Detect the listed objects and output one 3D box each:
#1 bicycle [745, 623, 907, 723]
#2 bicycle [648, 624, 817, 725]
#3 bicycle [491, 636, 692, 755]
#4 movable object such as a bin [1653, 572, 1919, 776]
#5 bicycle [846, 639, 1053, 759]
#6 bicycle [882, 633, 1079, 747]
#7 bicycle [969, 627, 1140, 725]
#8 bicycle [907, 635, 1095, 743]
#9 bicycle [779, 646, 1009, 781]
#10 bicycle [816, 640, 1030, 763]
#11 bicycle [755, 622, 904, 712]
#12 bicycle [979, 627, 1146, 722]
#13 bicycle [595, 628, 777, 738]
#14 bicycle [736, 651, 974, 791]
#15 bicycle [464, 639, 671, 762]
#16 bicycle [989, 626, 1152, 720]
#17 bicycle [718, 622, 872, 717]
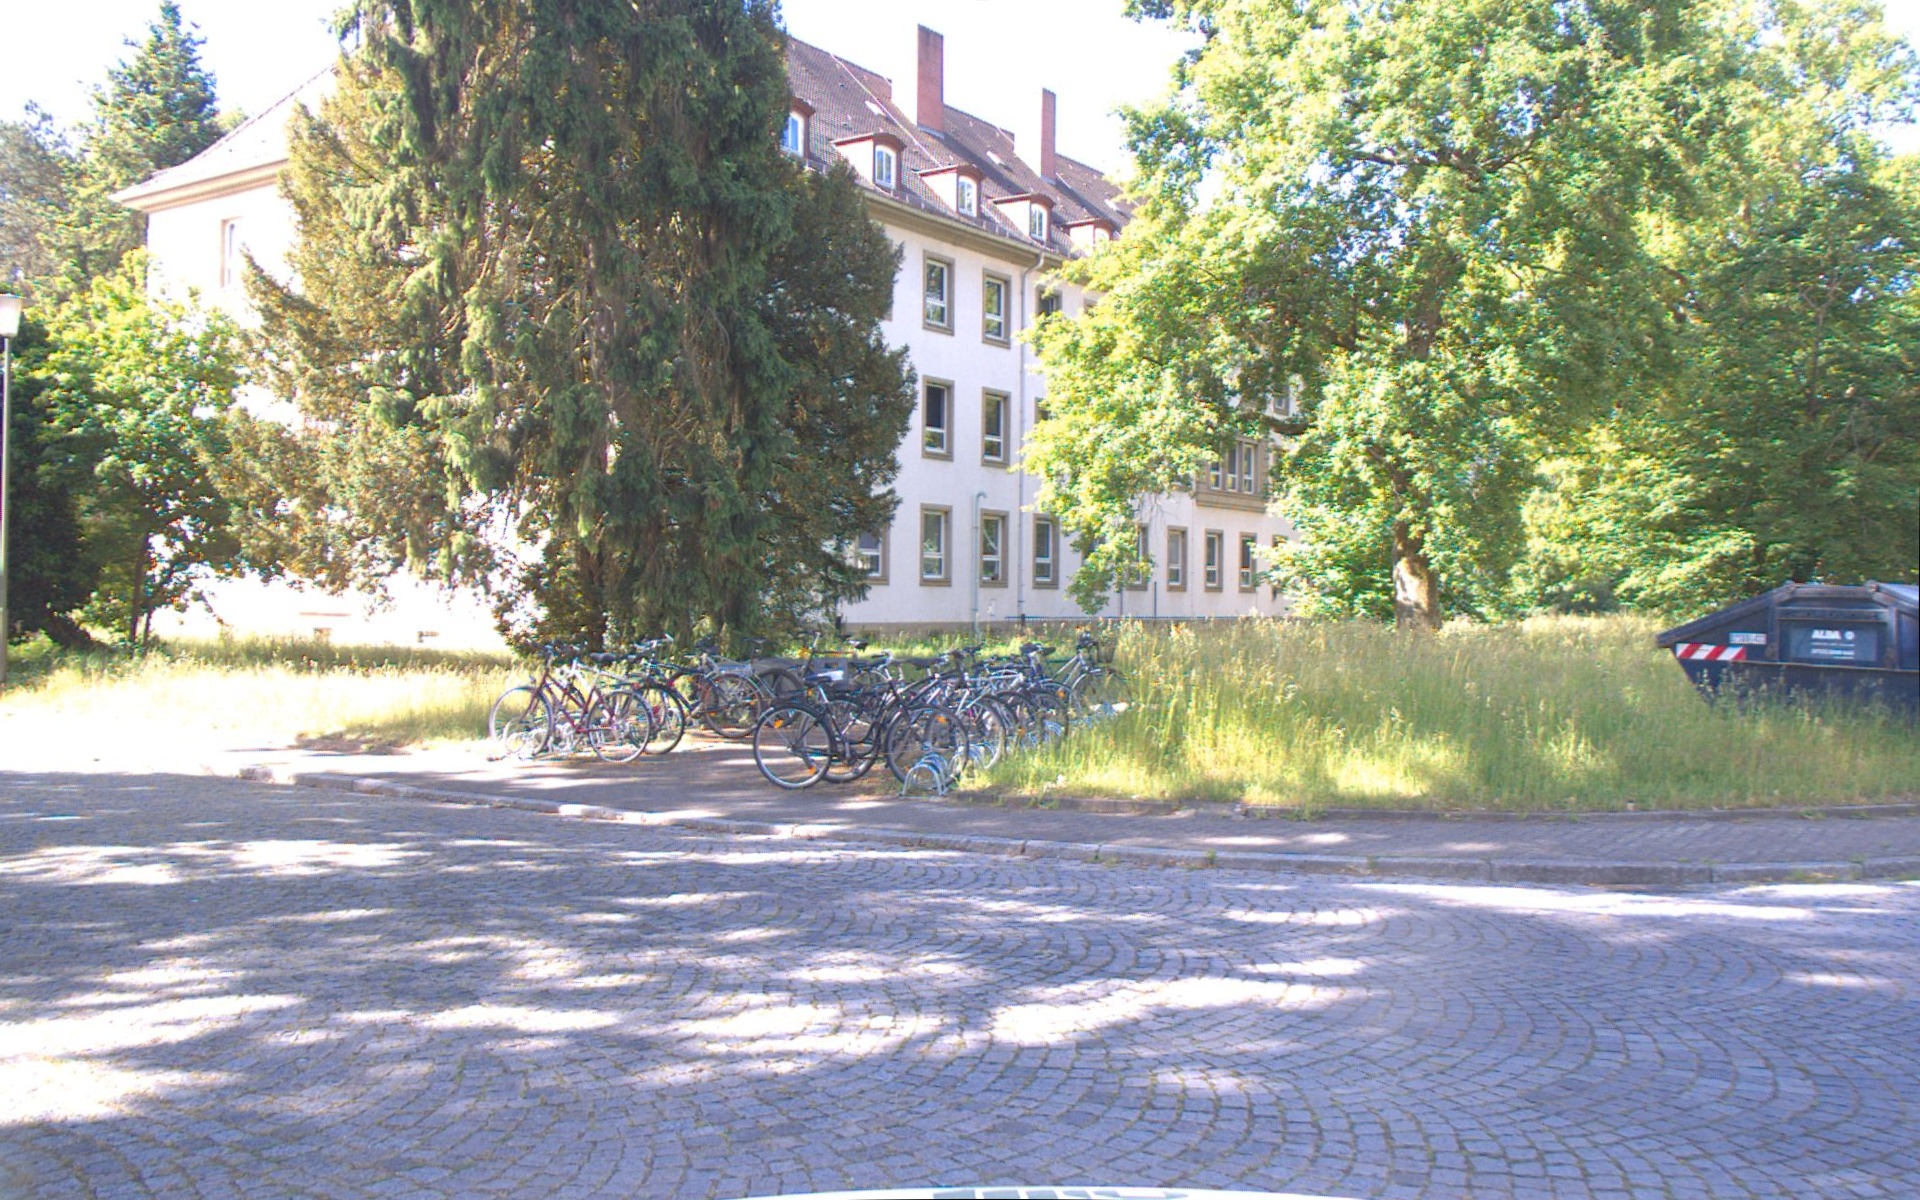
[{"bbox_3d":[-1.619,0.867,20.005,1.872,1.122,0.571,1,1,17],"label":"bicycle"},{"bbox_3d":[-2.664,0.859,19.431,1.872,1.122,0.571,1,1,8],"label":"bicycle"},{"bbox_3d":[-3.673,0.939,16.515,1.872,1.122,0.571,0,1,11],"label":"bicycle"},{"bbox_3d":[8.716,0.653,15.613,2.002,1.775,3.532,0,0,-35],"label":"movable object such as a bin"},{"bbox_3d":[-0.099,0.934,15.619,1.872,1.076,0.476,-2,-1,13],"label":"bicycle"},{"bbox_3d":[0.204,0.892,16.373,1.872,1.076,0.476,-2,-1,13],"label":"bicycle"},{"bbox_3d":[1.082,0.872,18.914,1.872,1.076,0.476,-2,-1,15],"label":"bicycle"},{"bbox_3d":[0.422,0.923,17.216,1.872,1.076,0.476,-2,-1,15],"label":"bicycle"},{"bbox_3d":[-0.549,0.958,14.029,1.872,1.076,0.476,-1,-1,7],"label":"bicycle"},{"bbox_3d":[-0.333,0.927,15.095,1.872,1.076,0.476,-2,-1,13],"label":"bicycle"},{"bbox_3d":[-1.723,0.875,21.886,1.872,1.122,0.571,1,1,12],"label":"bicycle"},{"bbox_3d":[1.202,0.875,19.402,1.872,1.076,0.476,-2,-1,15],"label":"bicycle"},{"bbox_3d":[-2.983,0.894,18.060,1.872,1.122,0.571,1,1,8],"label":"bicycle"},{"bbox_3d":[-0.853,0.986,13.566,1.872,1.076,0.476,-1,-1,7],"label":"bicycle"},{"bbox_3d":[-3.785,0.952,15.984,1.872,1.122,0.571,0,1,11],"label":"bicycle"},{"bbox_3d":[1.323,0.876,19.854,1.872,1.076,0.476,-2,-1,15],"label":"bicycle"},{"bbox_3d":[-2.094,0.870,20.991,1.872,1.122,0.571,1,1,17],"label":"bicycle"}]
